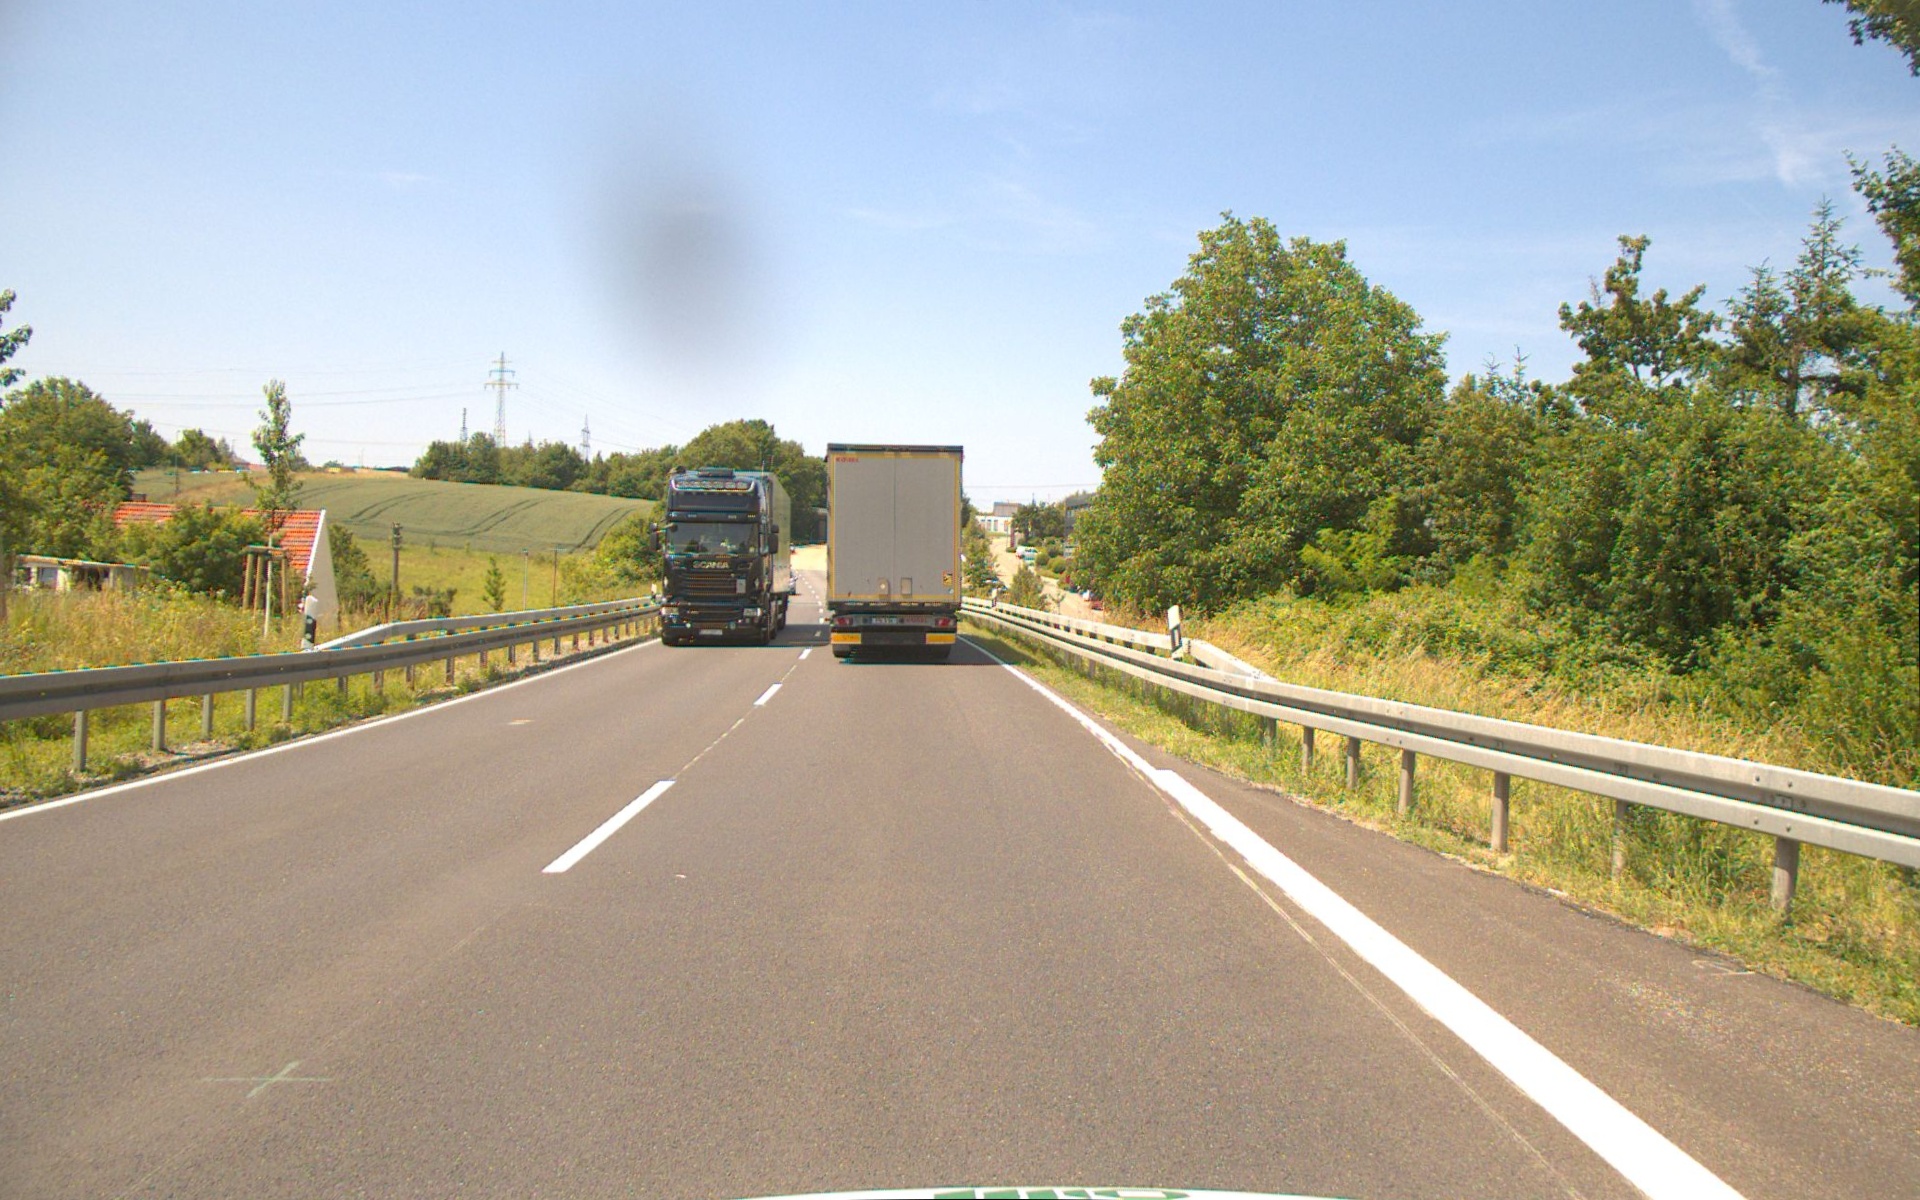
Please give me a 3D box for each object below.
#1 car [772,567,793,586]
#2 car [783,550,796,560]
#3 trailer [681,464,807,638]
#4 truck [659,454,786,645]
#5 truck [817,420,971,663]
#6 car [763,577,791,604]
[{"bbox_3d":[-15.579,-2.094,145.065,1.771,1.617,4.375,0,1,-5],"label":"car"},{"bbox_3d":[-25.909,-6.812,251.171,1.747,1.460,4.828,0,2,-7],"label":"car"},{"bbox_3d":[-5.948,-1.303,47.573,2.397,4.257,14.009,0,1,-3],"label":"trailer"},{"bbox_3d":[-5.604,-1.177,39.790,2.396,4.268,5.646,0,1,-2],"label":"truck"},{"bbox_3d":[-1.482,-1.127,35.194,2.809,4.435,9.783,0,1,-3],"label":"truck"},{"bbox_3d":[-10.953,-0.586,98.846,1.615,1.466,4.152,-1,1,-7],"label":"car"}]
